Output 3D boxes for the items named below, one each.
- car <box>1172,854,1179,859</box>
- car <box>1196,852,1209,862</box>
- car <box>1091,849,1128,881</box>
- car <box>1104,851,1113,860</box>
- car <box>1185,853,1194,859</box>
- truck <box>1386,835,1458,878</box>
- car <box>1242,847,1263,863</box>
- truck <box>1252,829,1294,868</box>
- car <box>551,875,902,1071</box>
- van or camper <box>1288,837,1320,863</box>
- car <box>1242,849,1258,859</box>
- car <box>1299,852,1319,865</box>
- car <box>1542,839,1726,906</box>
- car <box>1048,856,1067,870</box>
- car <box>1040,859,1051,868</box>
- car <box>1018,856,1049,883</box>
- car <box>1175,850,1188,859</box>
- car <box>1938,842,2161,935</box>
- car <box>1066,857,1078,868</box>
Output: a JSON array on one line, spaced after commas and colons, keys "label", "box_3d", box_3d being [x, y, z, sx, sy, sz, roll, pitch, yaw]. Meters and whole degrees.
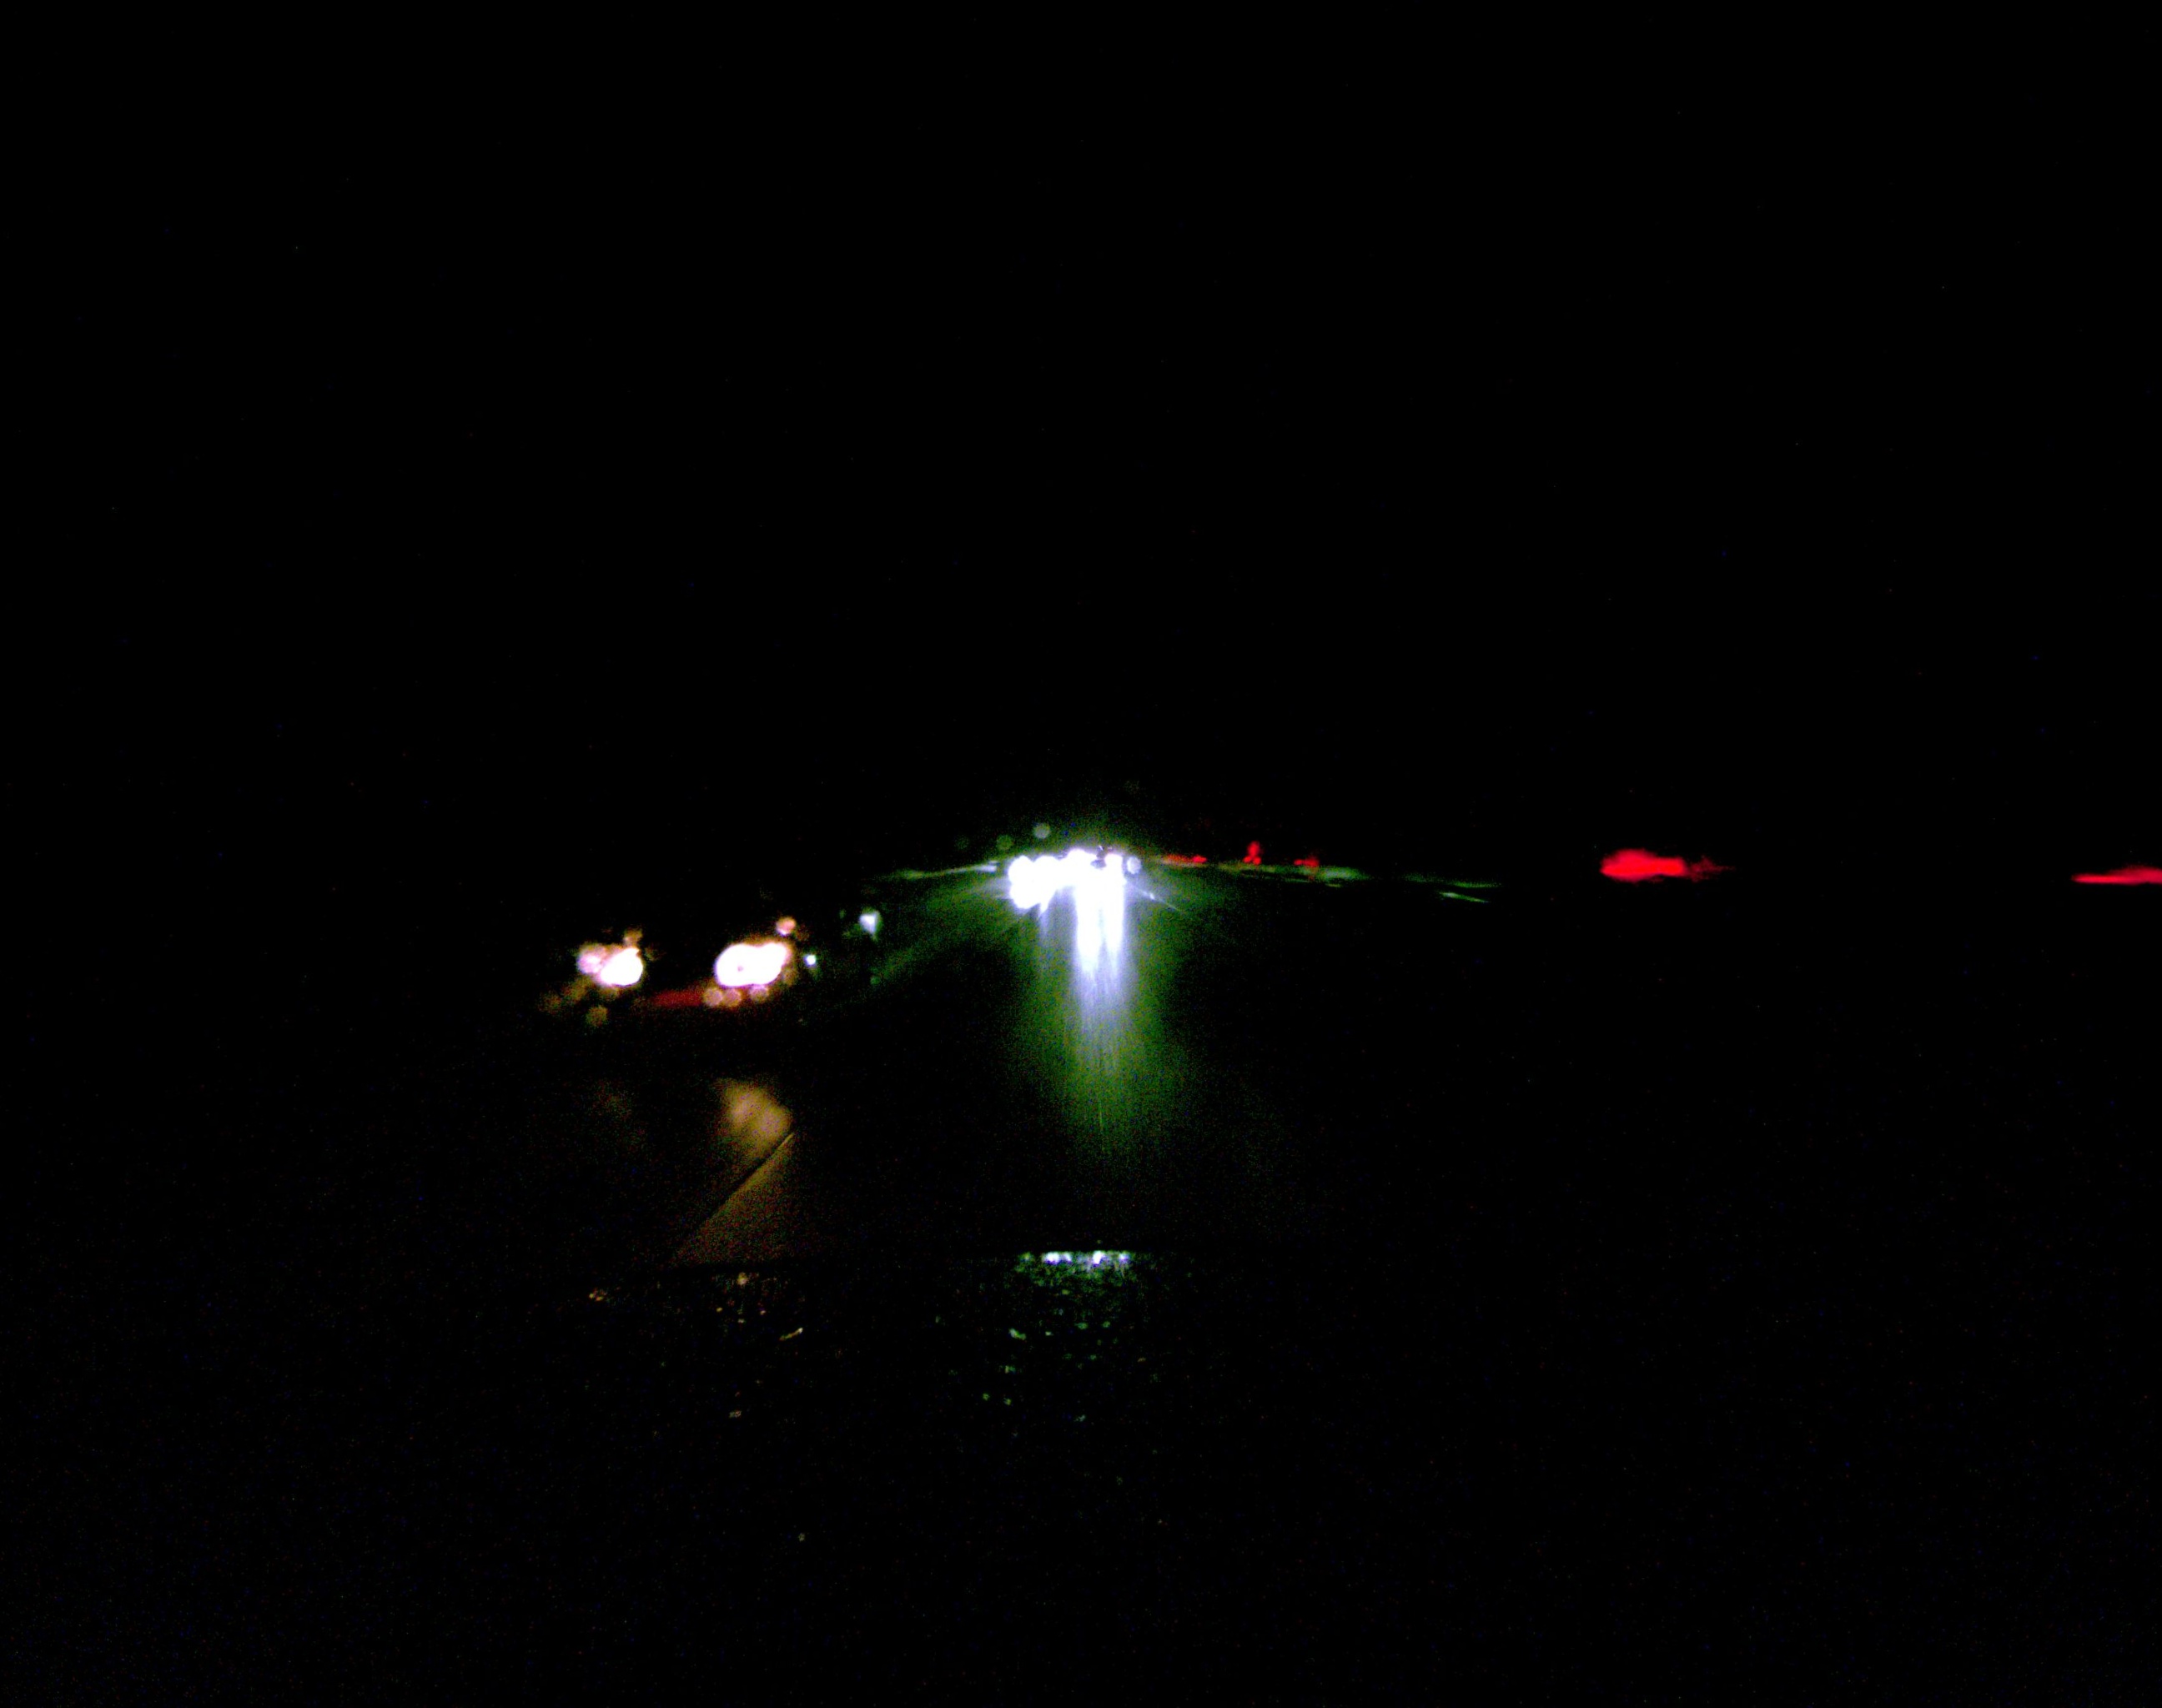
[{"label": "car", "box_3d": [30.569, 0.784, 246.014, 1.805, 1.563, 4.000, -2, 1, 1]}, {"label": "car", "box_3d": [22.858, 0.571, 143.261, 1.668, 1.788, 4.756, -2, 1, 1]}, {"label": "car", "box_3d": [1.578, 0.614, 43.719, 1.960, 1.655, 4.915, -2, 0, 1]}, {"label": "car", "box_3d": [5.855, 0.232, 160.546, 1.800, 1.728, 4.000, -2, 1, 1]}, {"label": "car", "box_3d": [29.937, 0.498, 209.432, 1.766, 1.679, 4.000, -2, 1, 1]}, {"label": "truck", "box_3d": [25.711, 0.146, 57.615, 2.457, 2.982, 6.701, -2, 1, 1]}, {"label": "car", "box_3d": [22.417, 0.151, 99.613, 1.795, 2.002, 4.000, -2, 1, 1]}, {"label": "truck", "box_3d": [34.430, -1.034, 137.456, 3.231, 6.375, 17.301, -2, 1, 1]}, {"label": "car", "box_3d": [-3.417, 1.042, 8.360, 1.774, 1.449, 4.195, -2, 0, 1]}, {"label": "van or camper", "box_3d": [33.108, -0.578, 113.102, 2.520, 3.679, 7.679, -2, 1, 1]}, {"label": "car", "box_3d": [28.764, 0.038, 129.403, 1.680, 1.618, 4.204, -2, 1, 1]}, {"label": "car", "box_3d": [28.875, 0.553, 96.363, 1.547, 1.492, 3.461, -2, 1, 1]}, {"label": "car", "box_3d": [16.942, 0.495, 23.699, 1.998, 1.796, 5.165, -2, 1, 1]}, {"label": "car", "box_3d": [-2.958, 1.141, 95.767, 1.998, 1.590, 4.653, -2, 1, 3]}, {"label": "car", "box_3d": [-6.674, 1.736, 142.013, 1.755, 1.563, 4.000, -2, 1, 1]}, {"label": "car", "box_3d": [-3.335, 1.074, 53.816, 1.792, 1.681, 4.000, -2, 1, 1]}, {"label": "car", "box_3d": [23.013, 0.176, 174.181, 2.079, 1.879, 5.268, -2, 1, 1]}, {"label": "car", "box_3d": [20.984, 0.626, 15.881, 1.767, 1.663, 3.886, -2, 1, 1]}, {"label": "car", "box_3d": [-1.690, 1.507, 139.835, 1.998, 1.852, 4.000, -2, 1, 1]}]
